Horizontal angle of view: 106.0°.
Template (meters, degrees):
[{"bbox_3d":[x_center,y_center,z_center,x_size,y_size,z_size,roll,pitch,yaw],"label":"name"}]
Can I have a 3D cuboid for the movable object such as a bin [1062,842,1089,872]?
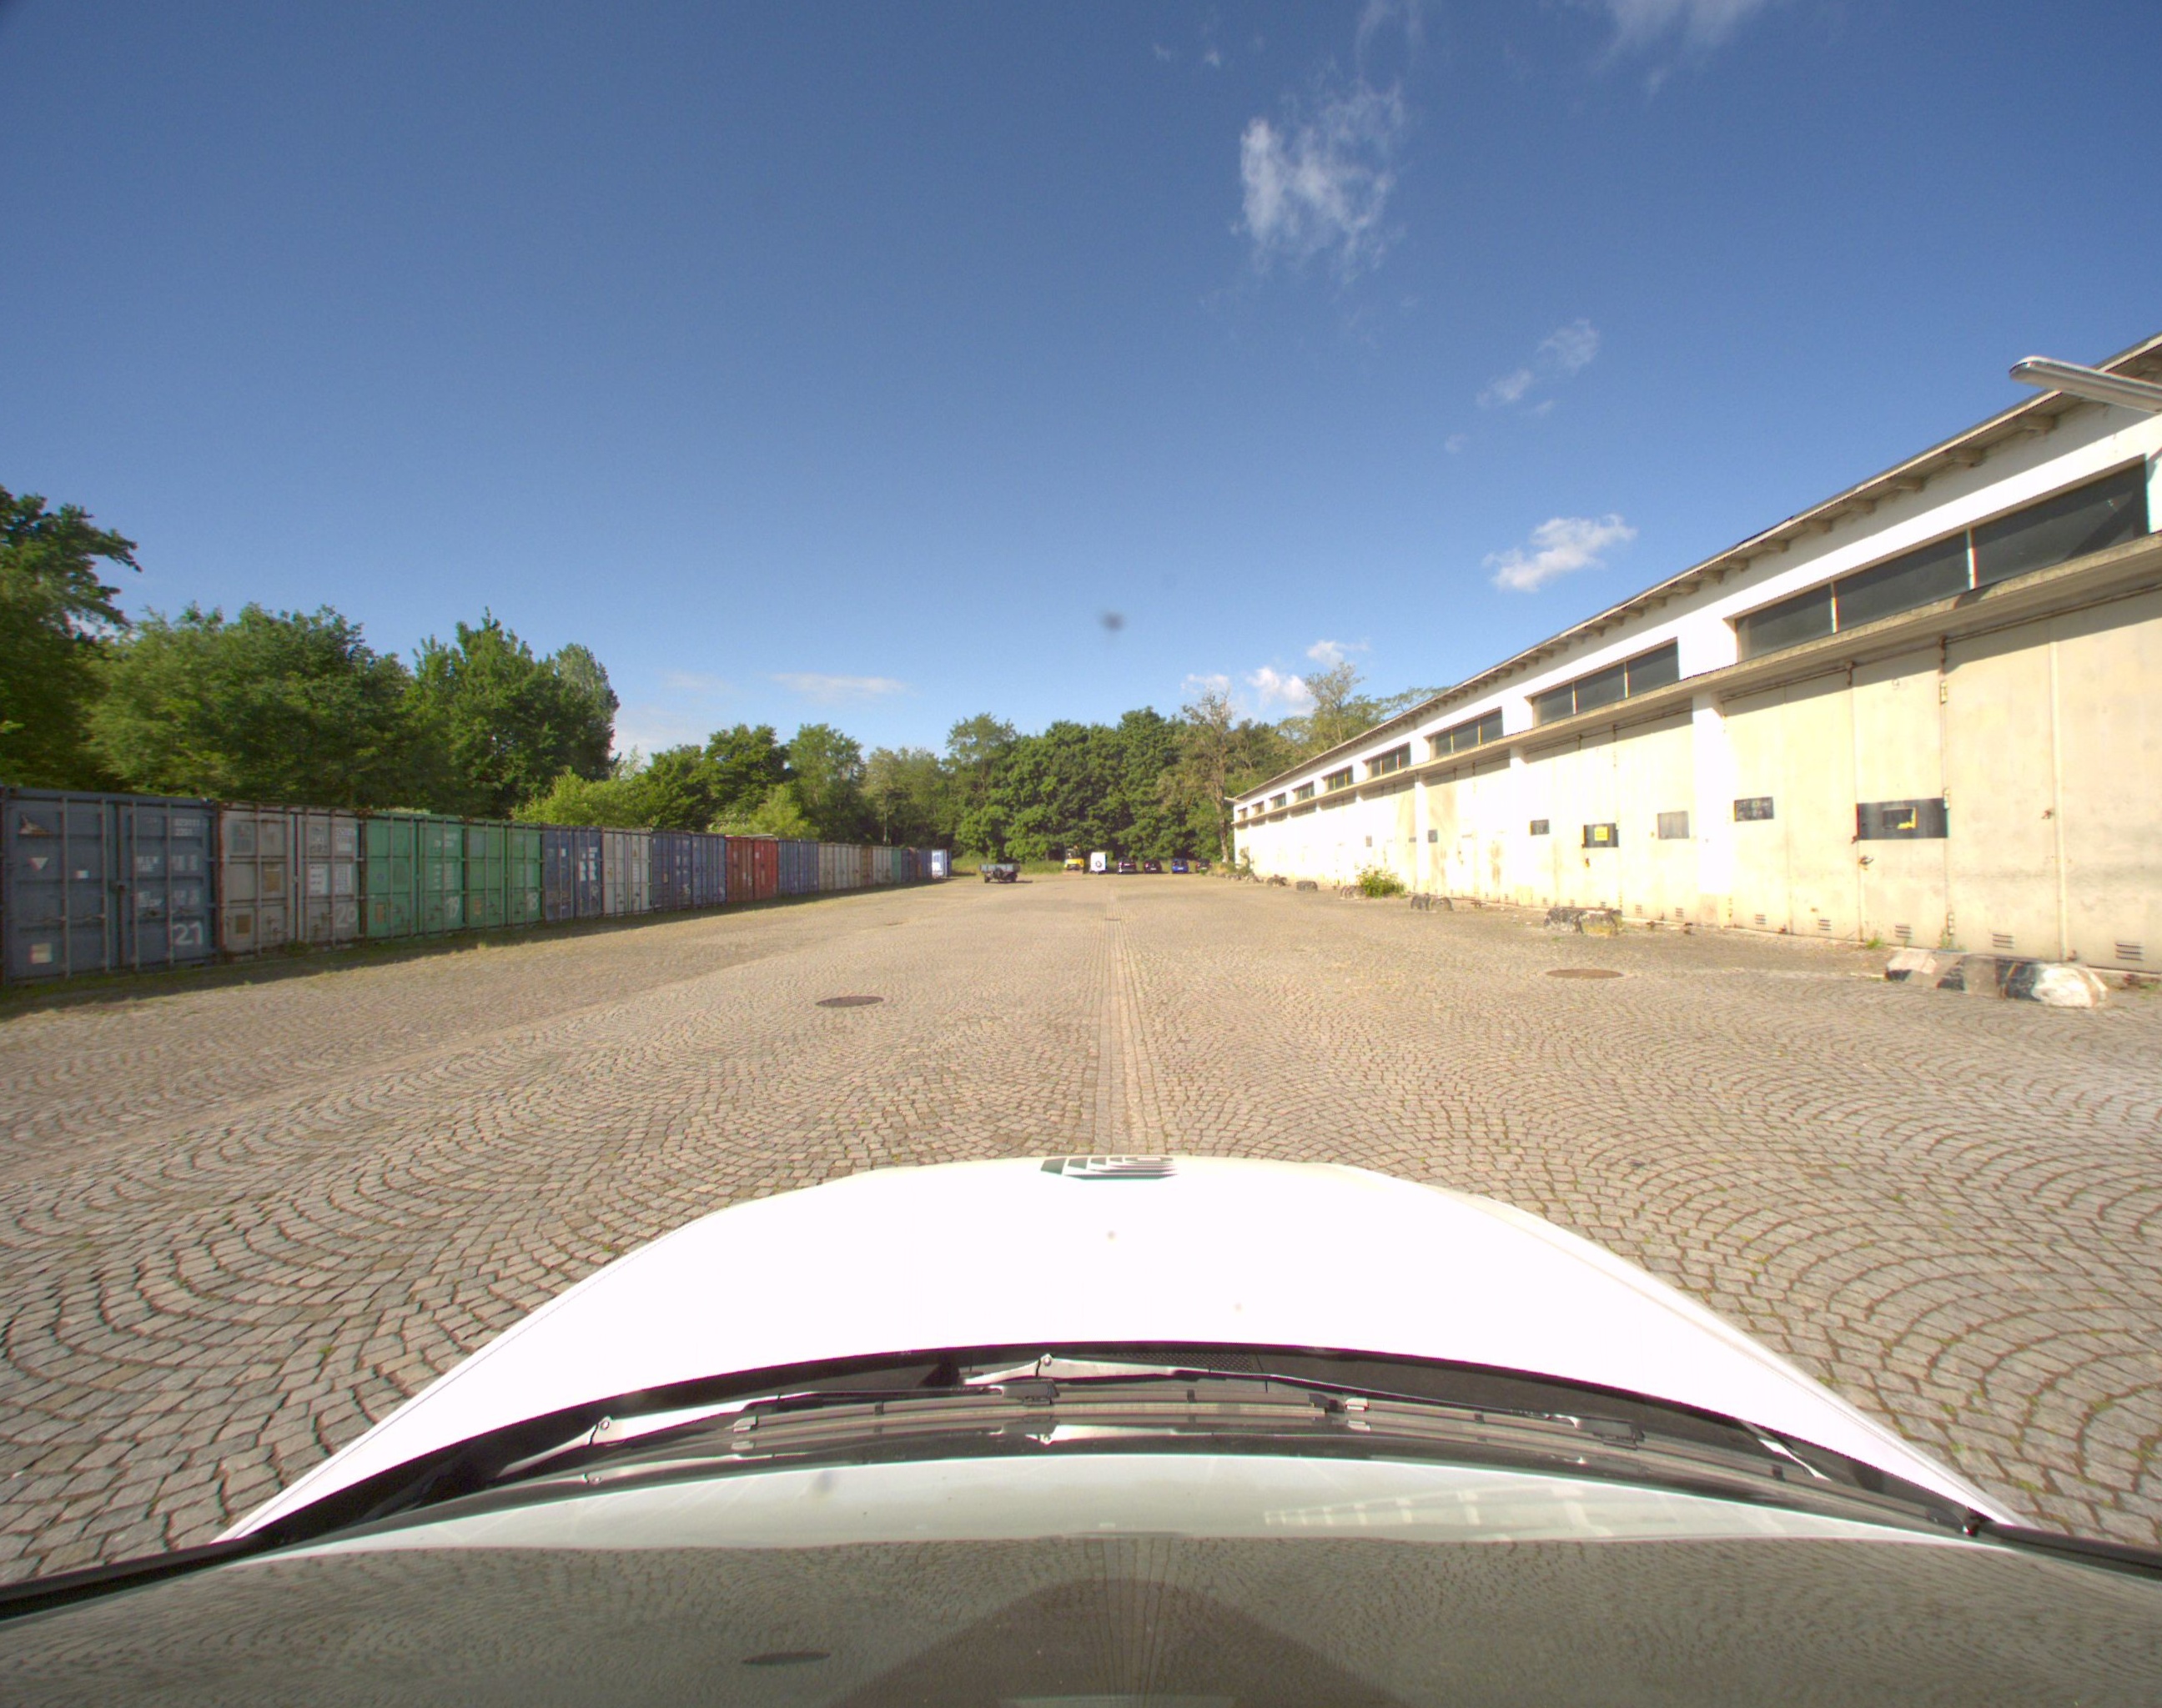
[{"bbox_3d":[-0.515,0.264,81.670,2.297,2.896,5.755,0,1,3],"label":"movable object such as a bin"}]

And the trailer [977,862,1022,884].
[{"bbox_3d":[-6.030,1.373,61.090,2.696,1.465,6.247,0,0,0],"label":"trailer"}]

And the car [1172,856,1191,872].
[{"bbox_3d":[9.714,0.921,78.767,1.735,1.436,4.191,0,1,7],"label":"car"}]

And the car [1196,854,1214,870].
[{"bbox_3d":[12.205,0.784,80.119,1.734,1.436,4.193,0,1,9],"label":"car"}]

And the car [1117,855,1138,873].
[{"bbox_3d":[4.464,0.921,78.579,1.857,1.589,4.297,0,1,2],"label":"car"}]

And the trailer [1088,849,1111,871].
[{"bbox_3d":[1.844,0.556,81.020,2.185,2.094,5.753,0,1,2],"label":"trailer"}]

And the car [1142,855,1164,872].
[{"bbox_3d":[6.958,0.881,78.890,1.857,1.470,4.297,0,1,2],"label":"car"}]
